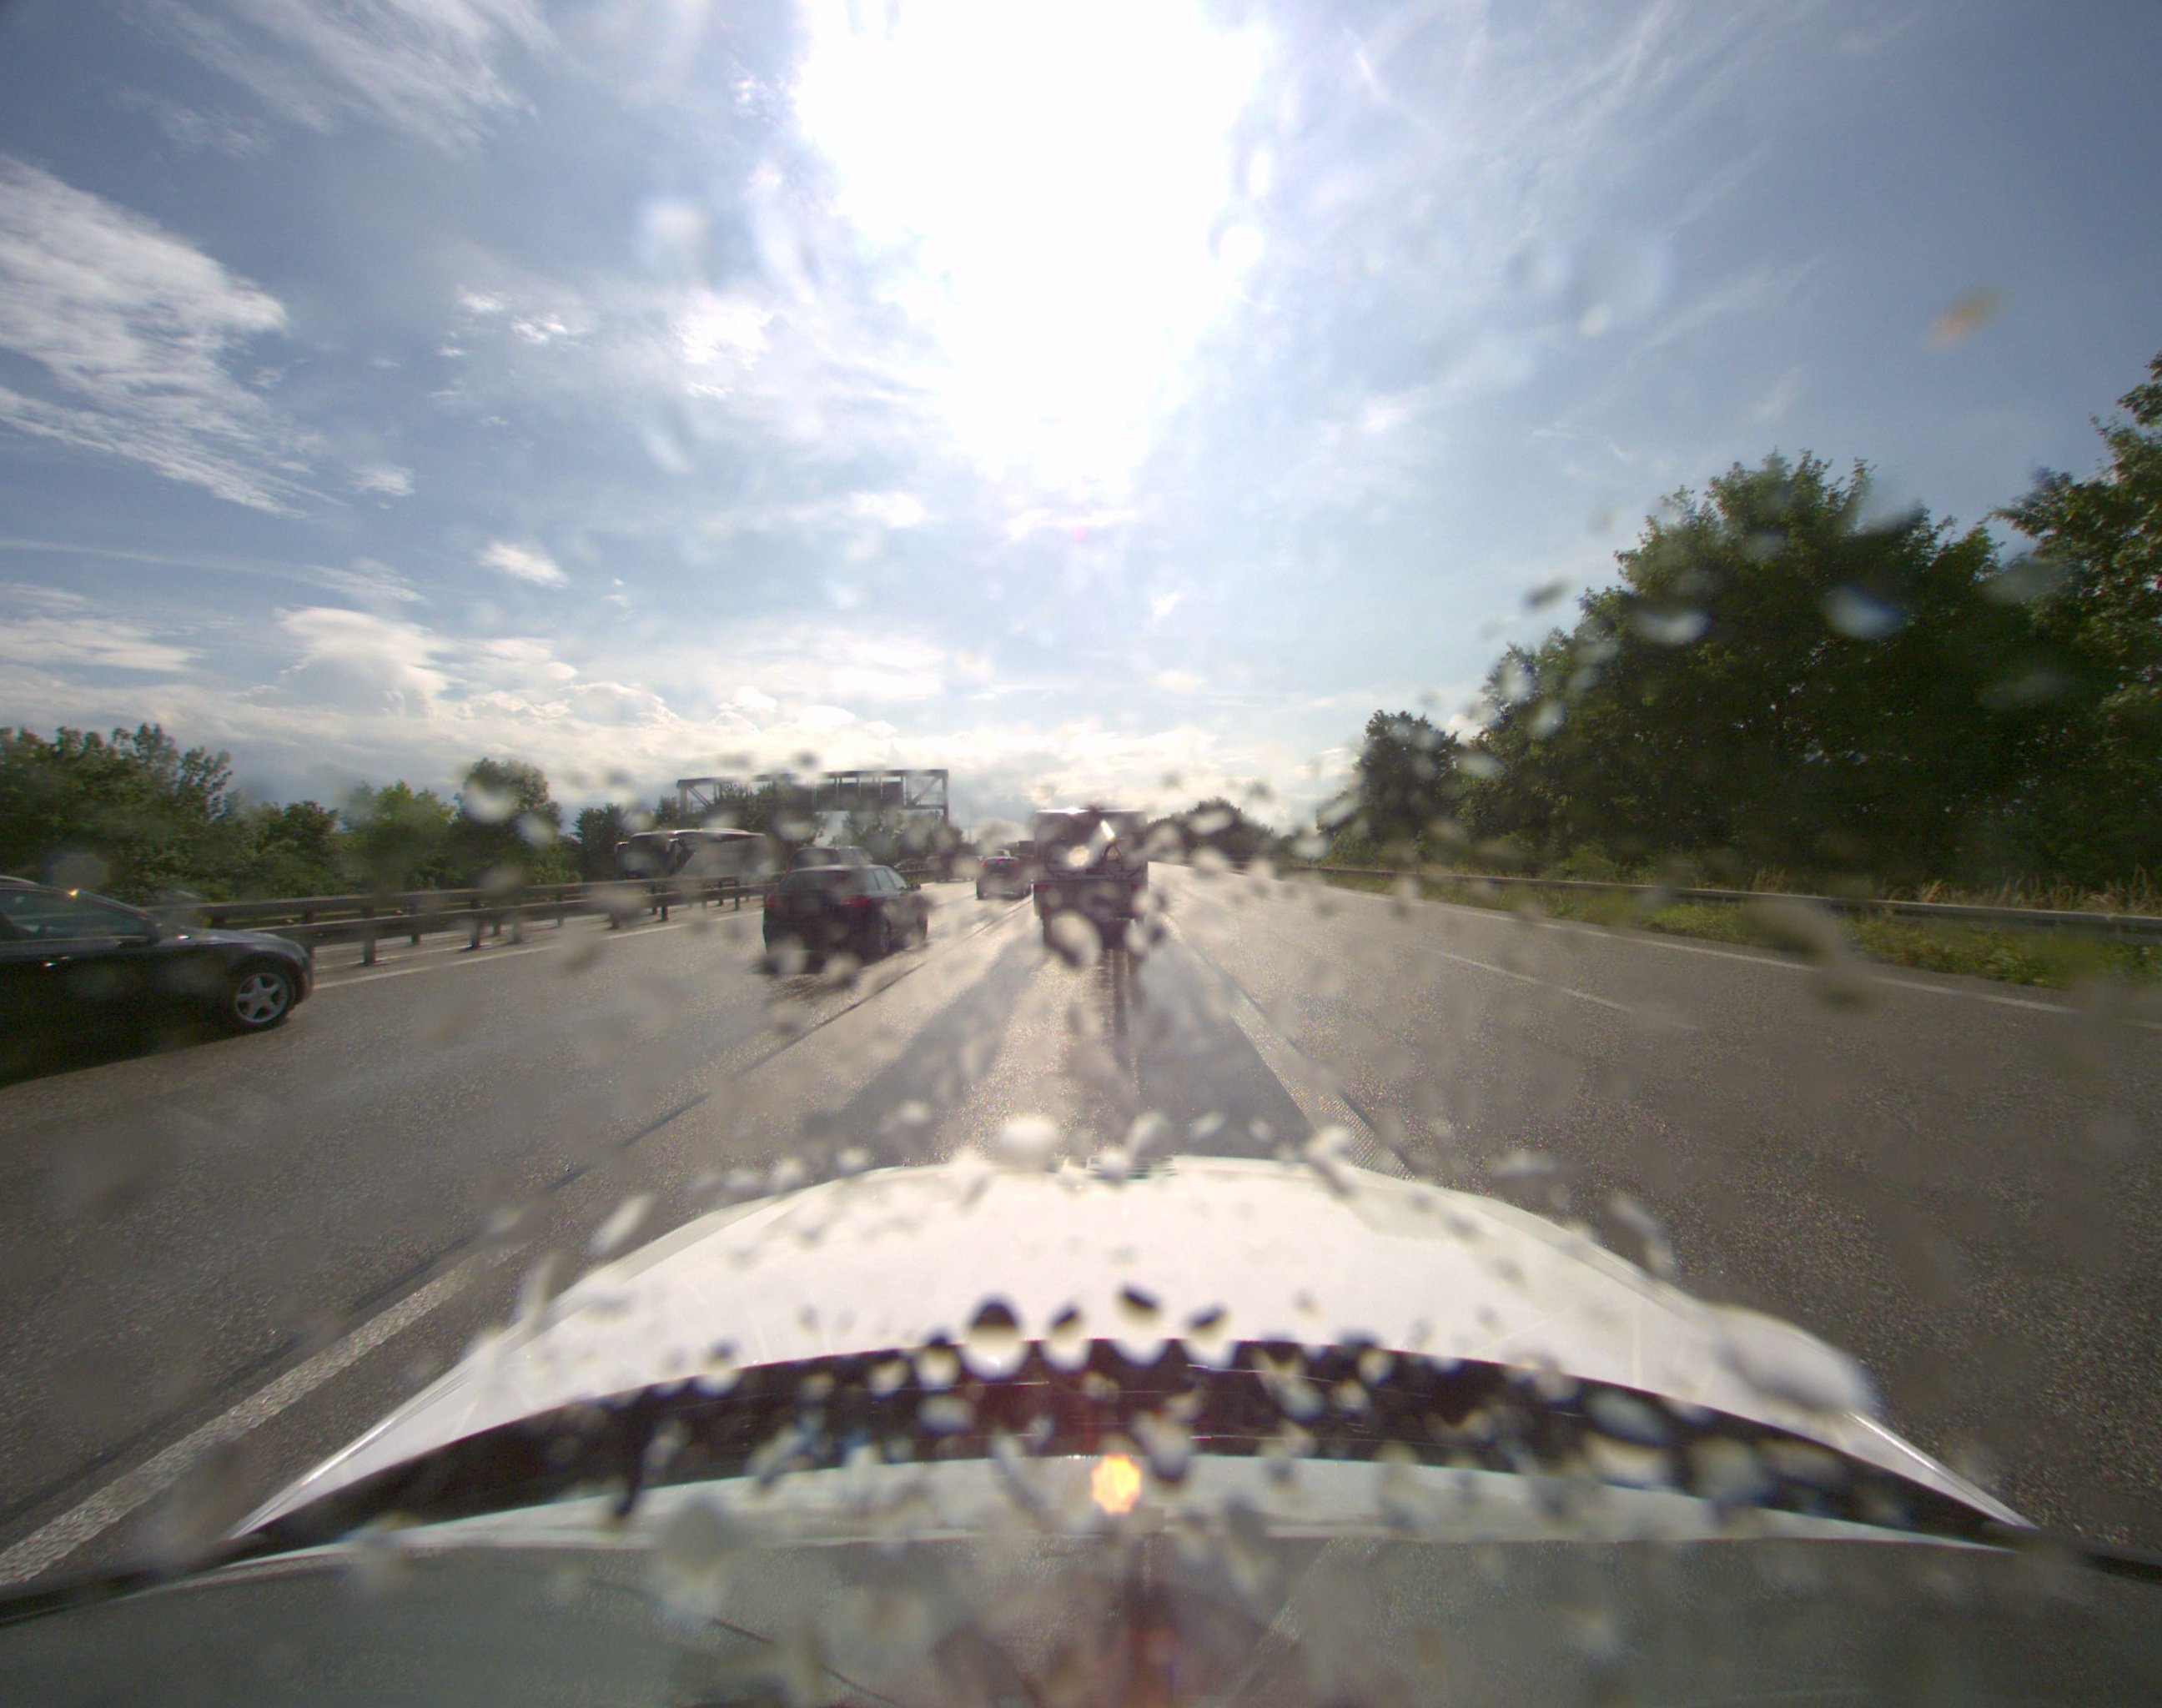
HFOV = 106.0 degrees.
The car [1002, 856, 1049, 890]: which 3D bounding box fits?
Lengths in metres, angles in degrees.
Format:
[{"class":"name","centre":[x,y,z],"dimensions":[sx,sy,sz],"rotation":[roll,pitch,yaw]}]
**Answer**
[{"class":"car","centre":[-2.598,0.864,38.907],"dimensions":[1.856,1.508,4.001],"rotation":[-1,0,1]}]

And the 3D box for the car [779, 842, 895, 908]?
[{"class":"car","centre":[-7.621,0.596,26.098],"dimensions":[1.799,1.844,5.422],"rotation":[-1,0,3]}]

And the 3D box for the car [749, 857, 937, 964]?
[{"class":"car","centre":[-3.672,0.794,13.338],"dimensions":[1.743,1.433,4.056],"rotation":[-1,0,2]}]

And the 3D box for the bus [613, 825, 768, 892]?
[{"class":"bus","centre":[-21.609,0.212,46.279],"dimensions":[2.930,3.286,12.209],"rotation":[-1,0,0]}]

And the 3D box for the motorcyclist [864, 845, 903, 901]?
[{"class":"motorcyclist","centre":[-5.632,0.526,23.307],"dimensions":[0.793,1.537,1.093],"rotation":[-1,0,2]}]

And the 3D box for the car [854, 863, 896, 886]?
[{"class":"car","centre":[-14.090,1.402,55.829],"dimensions":[1.769,1.442,4.001],"rotation":[-1,0,1]}]

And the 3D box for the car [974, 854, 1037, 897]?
[{"class":"car","centre":[-2.726,0.755,30.298],"dimensions":[1.751,1.443,4.003],"rotation":[-1,0,3]}]

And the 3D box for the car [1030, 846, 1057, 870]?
[{"class":"car","centre":[-2.737,0.294,60.496],"dimensions":[1.682,1.662,3.642],"rotation":[-1,0,2]}]

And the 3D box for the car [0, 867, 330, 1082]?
[{"class":"car","centre":[-8.296,0.852,5.715],"dimensions":[1.913,1.425,4.373],"rotation":[-1,0,1]}]

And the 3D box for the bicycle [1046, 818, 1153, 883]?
[{"class":"bicycle","centre":[0.341,-0.063,14.813],"dimensions":[1.925,1.141,0.384],"rotation":[-1,-1,3]}]

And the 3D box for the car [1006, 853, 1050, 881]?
[{"class":"car","centre":[-2.902,0.668,45.322],"dimensions":[1.979,1.458,3.829],"rotation":[-1,0,3]}]

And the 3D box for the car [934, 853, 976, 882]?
[{"class":"car","centre":[-7.332,0.738,47.741],"dimensions":[1.777,1.578,3.916],"rotation":[-1,0,1]}]

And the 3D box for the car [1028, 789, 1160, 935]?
[{"class":"car","centre":[0.336,0.150,17.024],"dimensions":[2.401,2.674,4.003],"rotation":[-1,0,3]}]

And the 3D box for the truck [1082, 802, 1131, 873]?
[{"class":"truck","centre":[1.808,-1.088,58.999],"dimensions":[3.135,4.626,10.738],"rotation":[-1,0,1]}]

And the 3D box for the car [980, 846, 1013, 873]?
[{"class":"car","centre":[-6.411,0.412,62.165],"dimensions":[1.841,1.934,5.018],"rotation":[-1,0,2]}]

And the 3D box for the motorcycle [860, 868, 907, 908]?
[{"class":"motorcycle","centre":[-5.625,0.944,23.333],"dimensions":[0.688,1.027,2.389],"rotation":[-1,0,2]}]
